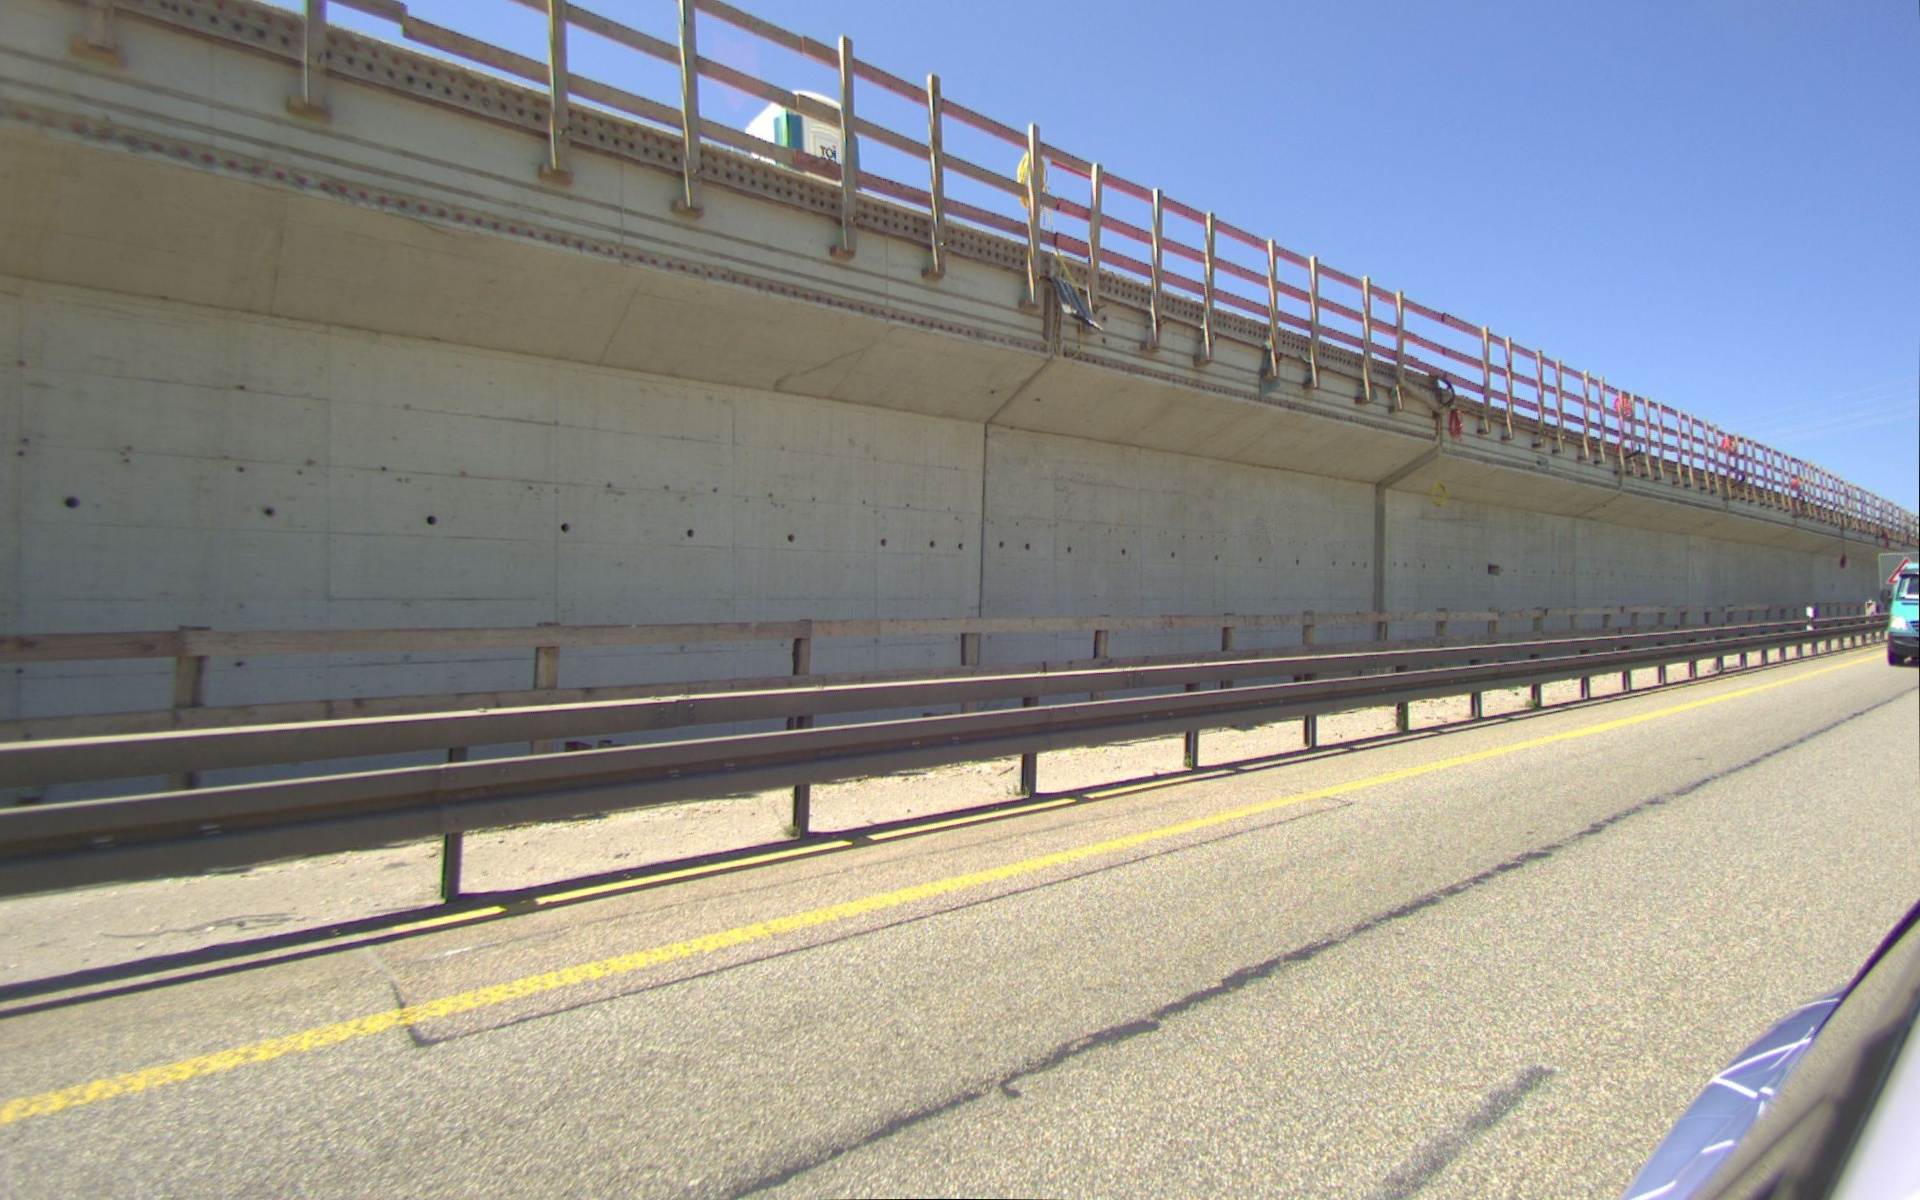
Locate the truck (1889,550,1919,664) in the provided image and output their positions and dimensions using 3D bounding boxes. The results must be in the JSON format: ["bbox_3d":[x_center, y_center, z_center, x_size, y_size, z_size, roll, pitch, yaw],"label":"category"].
[{"bbox_3d":[23.295,0.081,23.134,7.302,2.387,2.138,-1,1,-40],"label":"truck"}]
